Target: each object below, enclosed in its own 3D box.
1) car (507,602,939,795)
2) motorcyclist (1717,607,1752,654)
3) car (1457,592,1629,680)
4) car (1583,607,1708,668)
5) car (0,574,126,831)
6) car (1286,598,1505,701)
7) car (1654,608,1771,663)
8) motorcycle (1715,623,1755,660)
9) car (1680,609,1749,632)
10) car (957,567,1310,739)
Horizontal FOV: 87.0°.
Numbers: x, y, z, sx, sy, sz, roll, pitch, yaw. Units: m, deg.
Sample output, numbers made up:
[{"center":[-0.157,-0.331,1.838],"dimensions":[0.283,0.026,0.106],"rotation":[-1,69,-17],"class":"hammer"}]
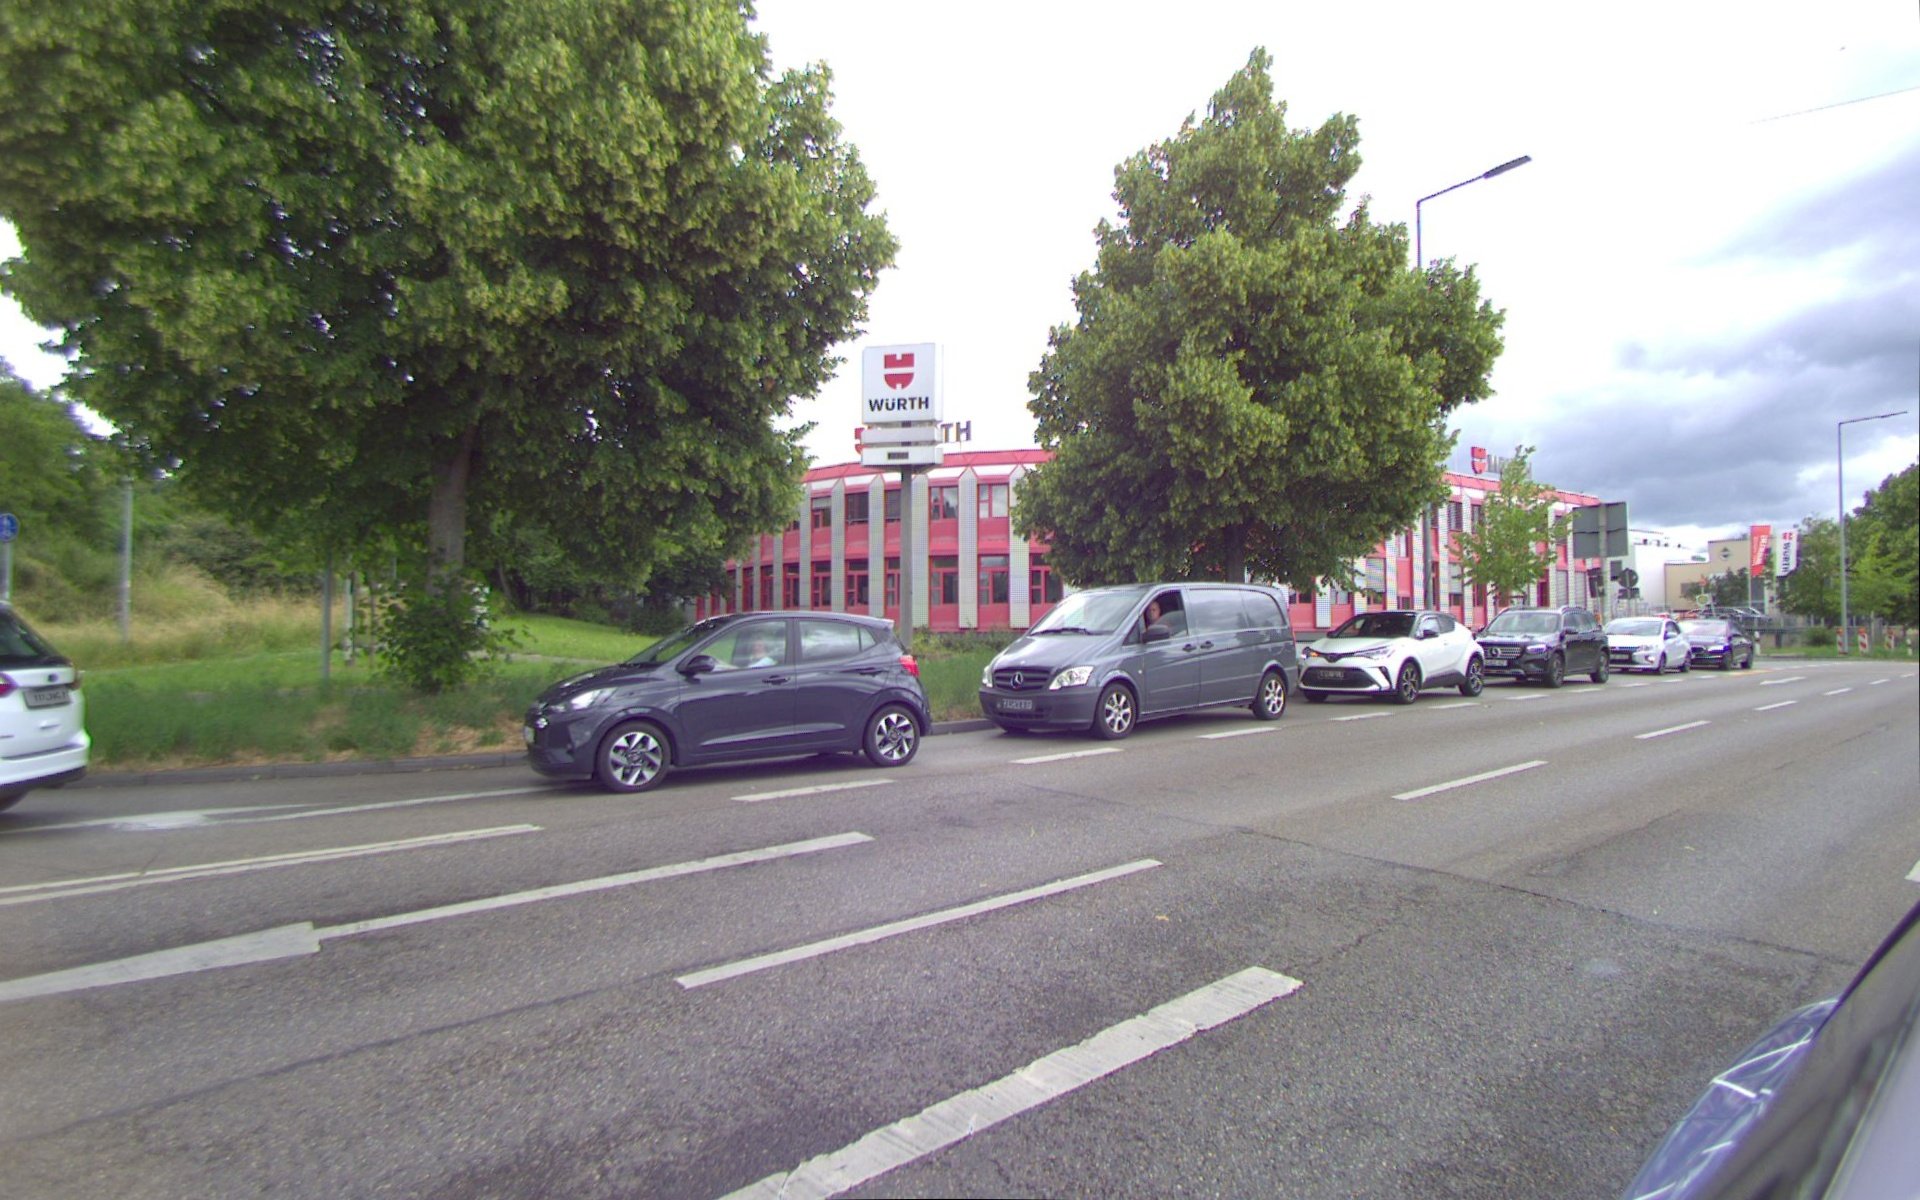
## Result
[{"center":[-2.133,0.785,9.344],"dimensions":[3.545,1.449,1.625],"rotation":[0,-3,-33],"class":"car"},{"center":[25.192,0.991,32.907],"dimensions":[0.918,1.510,0.748],"rotation":[2,-3,-44],"class":"motorcyclist"},{"center":[12.477,0.758,21.560],"dimensions":[4.346,1.671,1.784],"rotation":[3,-1,-40],"class":"car"},{"center":[18.186,0.995,26.808],"dimensions":[3.766,1.461,1.784],"rotation":[3,-1,-40],"class":"car"},{"center":[-8.382,0.711,6.456],"dimensions":[4.365,1.616,1.786],"rotation":[-1,-3,-20],"class":"car"},{"center":[7.577,0.796,17.430],"dimensions":[4.230,1.555,1.783],"rotation":[0,-3,-41],"class":"car"},{"center":[22.214,1.058,29.807],"dimensions":[4.446,1.464,1.784],"rotation":[3,-1,-40],"class":"car"},{"center":[25.162,1.326,32.861],"dimensions":[1.911,1.162,0.748],"rotation":[2,-3,-45],"class":"motorcycle"},{"center":[61.810,1.688,82.949],"dimensions":[1.752,1.776,4.247],"rotation":[0,0,-39],"class":"car"},{"center":[2.378,0.620,13.169],"dimensions":[4.636,1.858,1.919],"rotation":[0,-3,-39],"class":"car"}]
